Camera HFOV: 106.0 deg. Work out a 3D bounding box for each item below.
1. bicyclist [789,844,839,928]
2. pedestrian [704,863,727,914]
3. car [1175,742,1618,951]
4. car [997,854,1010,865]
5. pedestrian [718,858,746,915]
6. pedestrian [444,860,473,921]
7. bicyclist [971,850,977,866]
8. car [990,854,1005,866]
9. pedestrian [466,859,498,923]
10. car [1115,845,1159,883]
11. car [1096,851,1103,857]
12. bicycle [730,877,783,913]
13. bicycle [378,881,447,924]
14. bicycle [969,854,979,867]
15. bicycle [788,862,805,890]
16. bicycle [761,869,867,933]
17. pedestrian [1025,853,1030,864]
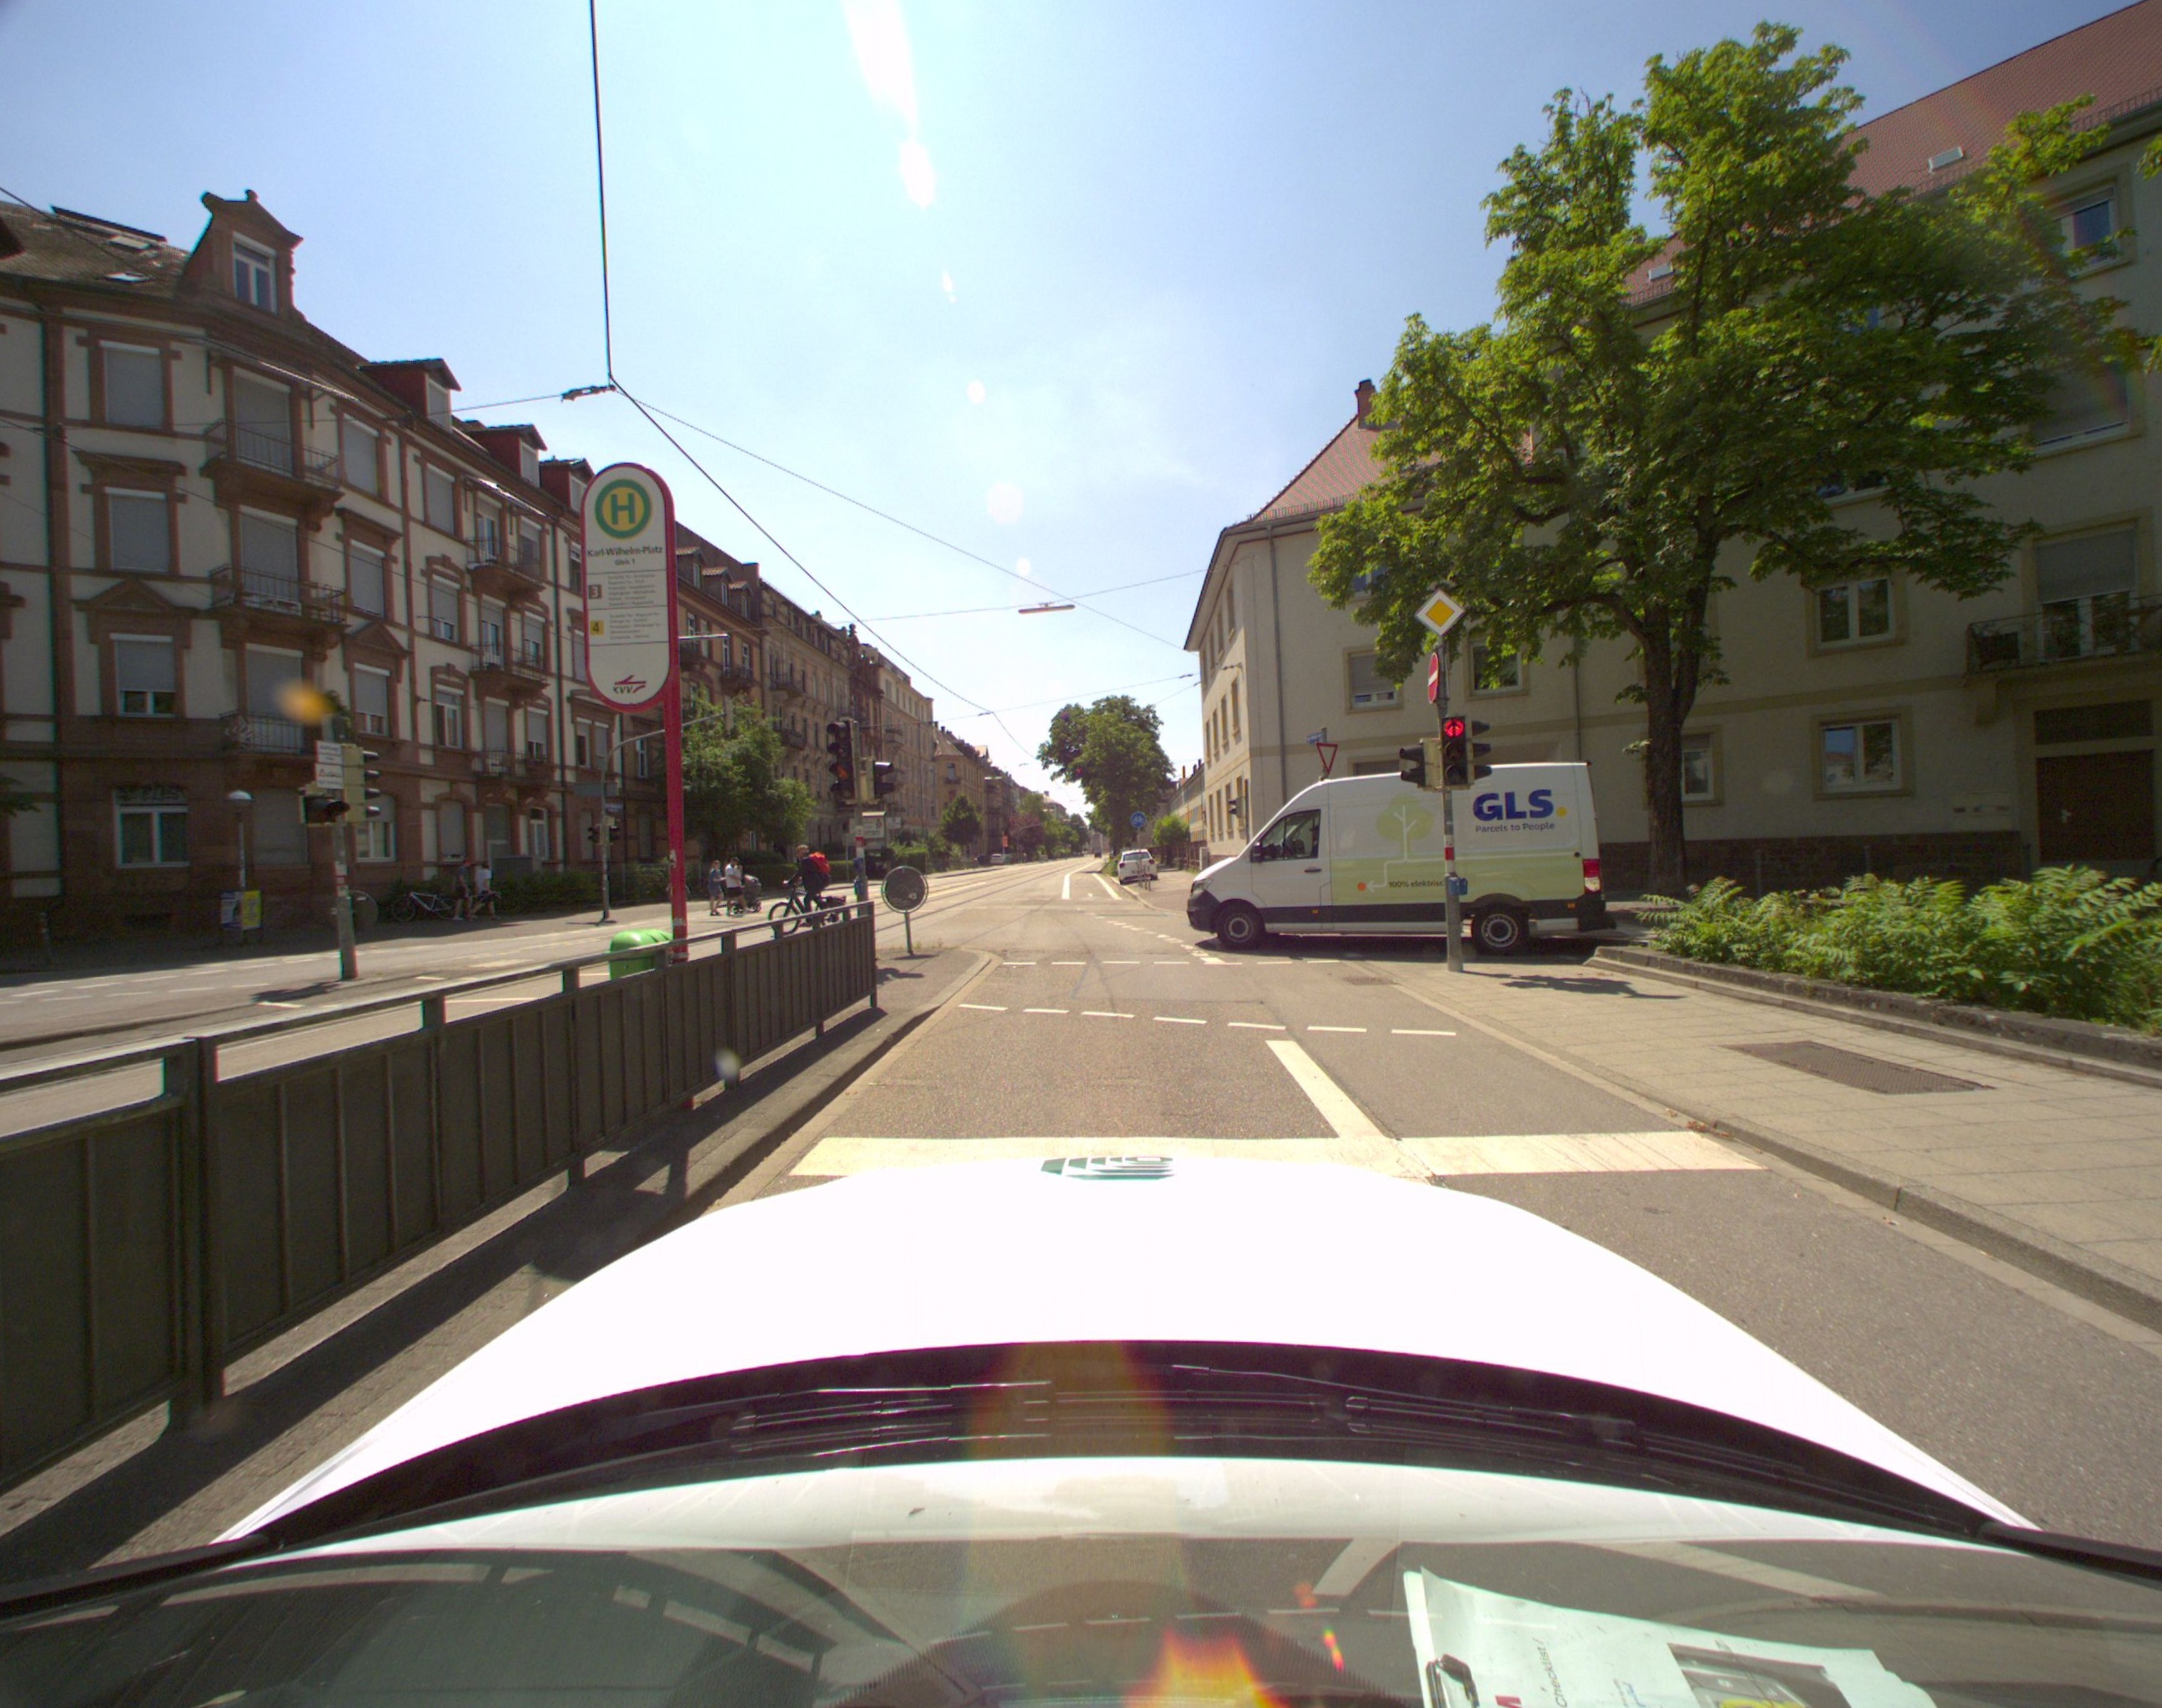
[{"bbox_3d":[-5.341,0.634,16.312,0.687,1.646,0.583,-2,-1,21],"label":"bicyclist"},{"bbox_3d":[-11.078,1.031,24.678,0.510,1.516,0.464,-1,-1,-40],"label":"pedestrian"},{"bbox_3d":[4.562,-0.012,12.369,5.776,2.590,2.013,-2,0,29],"label":"car"},{"bbox_3d":[-11.803,0.811,124.436,1.623,1.472,3.563,-5,0,0],"label":"car"},{"bbox_3d":[-10.166,0.930,23.720,0.657,1.615,0.464,-1,2,-40],"label":"pedestrian"},{"bbox_3d":[-18.480,1.068,24.176,0.508,1.768,0.525,-1,-1,-20],"label":"pedestrian"},{"bbox_3d":[-11.643,0.409,88.463,0.540,1.763,0.498,-1,-1,1],"label":"bicyclist"},{"bbox_3d":[-11.895,0.817,116.091,1.679,1.472,3.937,-5,0,0],"label":"car"},{"bbox_3d":[-17.685,1.083,24.065,0.565,1.825,0.631,-1,-1,-20],"label":"pedestrian"},{"bbox_3d":[2.524,0.444,37.294,1.741,1.472,3.939,-5,0,1],"label":"car"},{"bbox_3d":[4.322,-0.019,191.972,1.519,1.444,3.367,-4,0,2],"label":"car"},{"bbox_3d":[-9.888,1.240,24.837,1.410,1.013,0.384,-1,-1,-39],"label":"bicycle"},{"bbox_3d":[-19.649,1.414,23.962,1.522,1.169,0.362,-1,1,-25],"label":"bicycle"},{"bbox_3d":[-11.640,0.719,88.581,0.575,1.388,2.502,-1,0,2],"label":"bicycle"},{"bbox_3d":[-14.423,1.115,41.232,0.594,1.356,2.420,-1,0,-24],"label":"bicycle"},{"bbox_3d":[-5.360,0.939,16.336,2.063,1.236,0.583,-2,-1,20],"label":"bicycle"},{"bbox_3d":[-8.560,0.750,129.385,0.675,1.727,0.678,-1,-1,1],"label":"pedestrian"}]
